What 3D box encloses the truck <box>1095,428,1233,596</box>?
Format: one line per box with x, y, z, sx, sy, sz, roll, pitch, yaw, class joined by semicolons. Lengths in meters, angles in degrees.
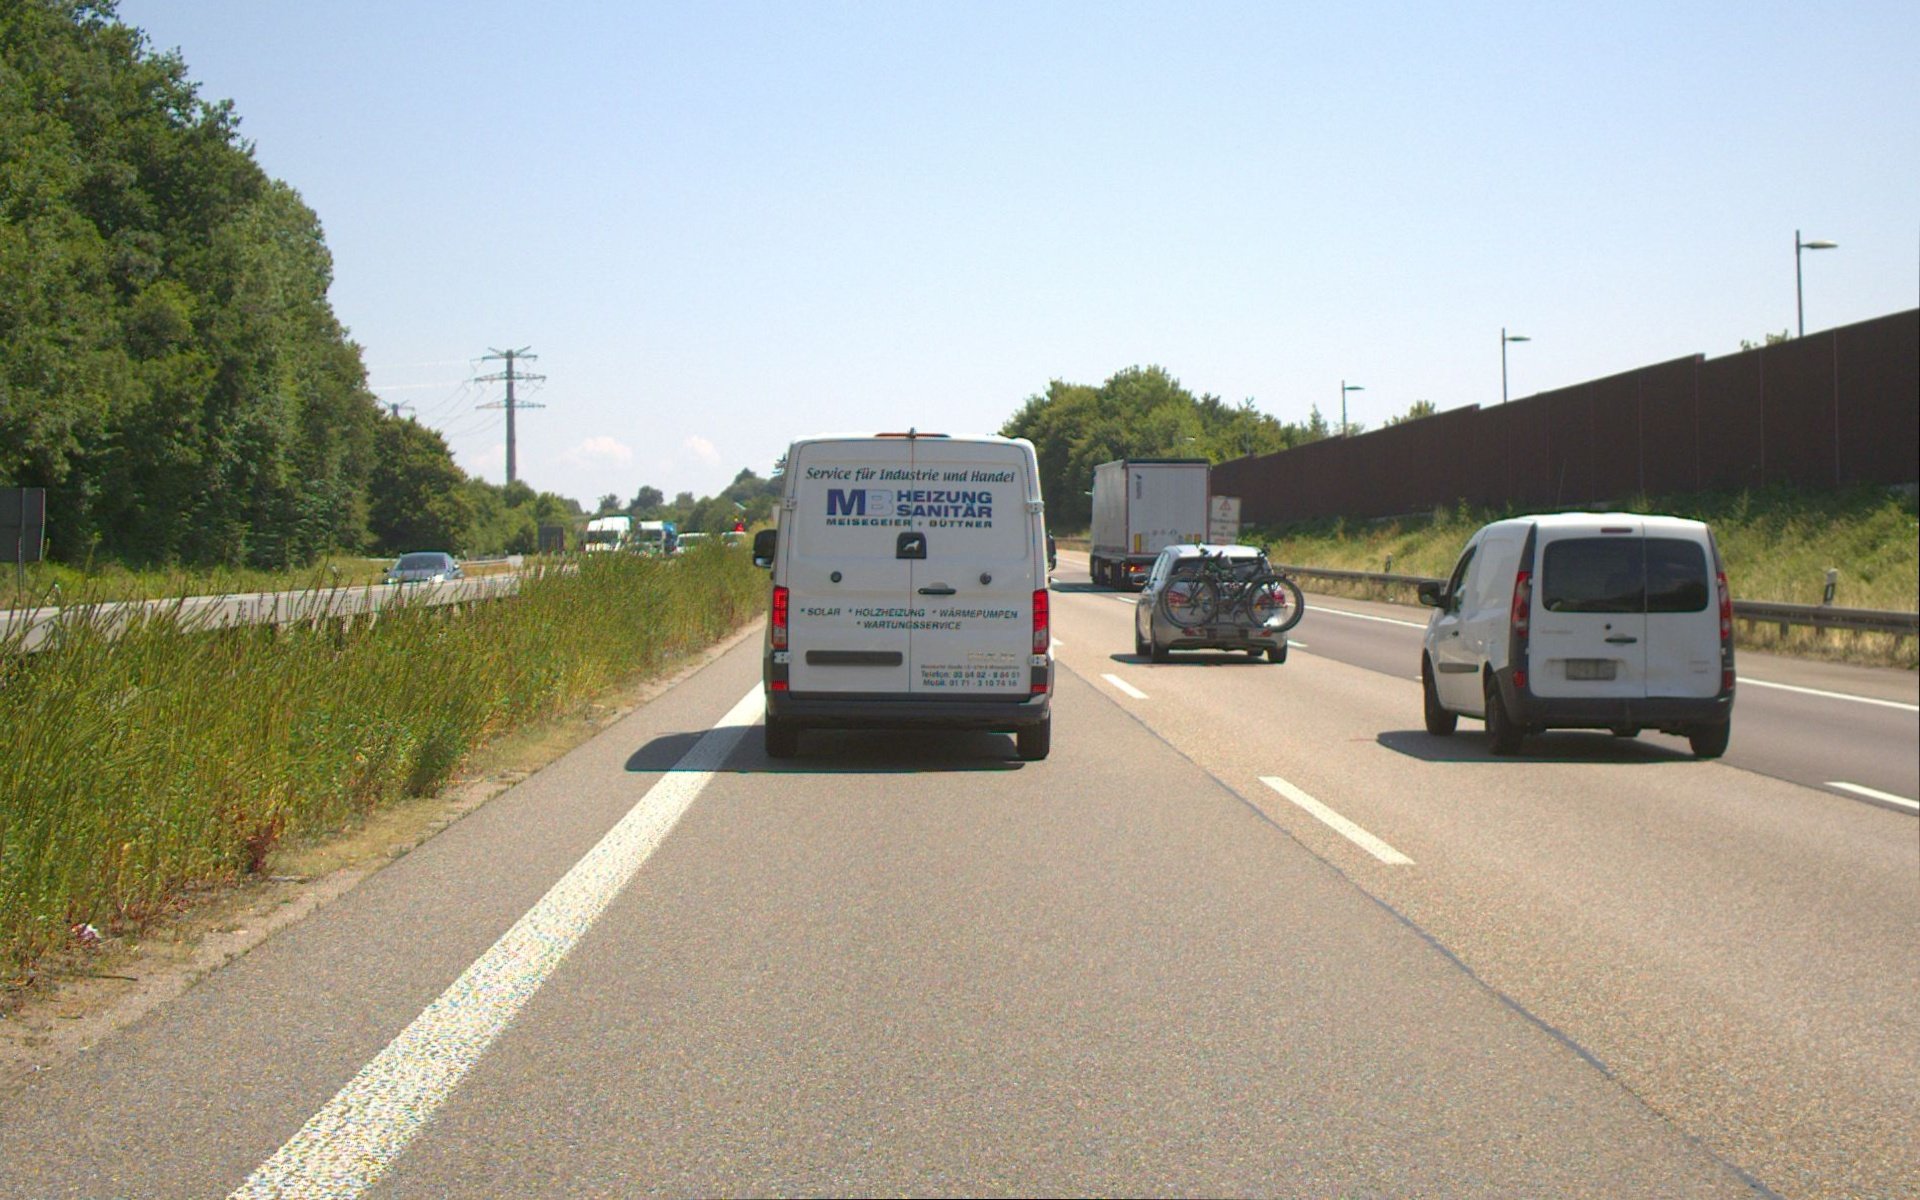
6.355;-2.681;109.370;3.788;4.983;12.518;1;0;1;truck

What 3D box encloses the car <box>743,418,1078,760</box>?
-0.496;-0.092;25.513;2.181;2.246;5.364;1;0;-4;car

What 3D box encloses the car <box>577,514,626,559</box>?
-19.239;-3.421;184.788;2.124;2.331;5.085;-2;1;-1;car

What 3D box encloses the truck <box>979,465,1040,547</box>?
3.297;-6.082;225.173;3.788;4.983;12.518;1;0;1;truck

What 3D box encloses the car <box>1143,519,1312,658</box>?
3.478;-0.154;45.394;1.976;1.727;4.088;-1;0;1;car

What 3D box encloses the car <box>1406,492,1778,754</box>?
4.763;0.149;26.510;1.950;1.831;4.178;-1;0;-2;car

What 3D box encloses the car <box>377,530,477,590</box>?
-14.481;-1.108;93.568;1.993;1.514;4.722;-2;1;-1;car
